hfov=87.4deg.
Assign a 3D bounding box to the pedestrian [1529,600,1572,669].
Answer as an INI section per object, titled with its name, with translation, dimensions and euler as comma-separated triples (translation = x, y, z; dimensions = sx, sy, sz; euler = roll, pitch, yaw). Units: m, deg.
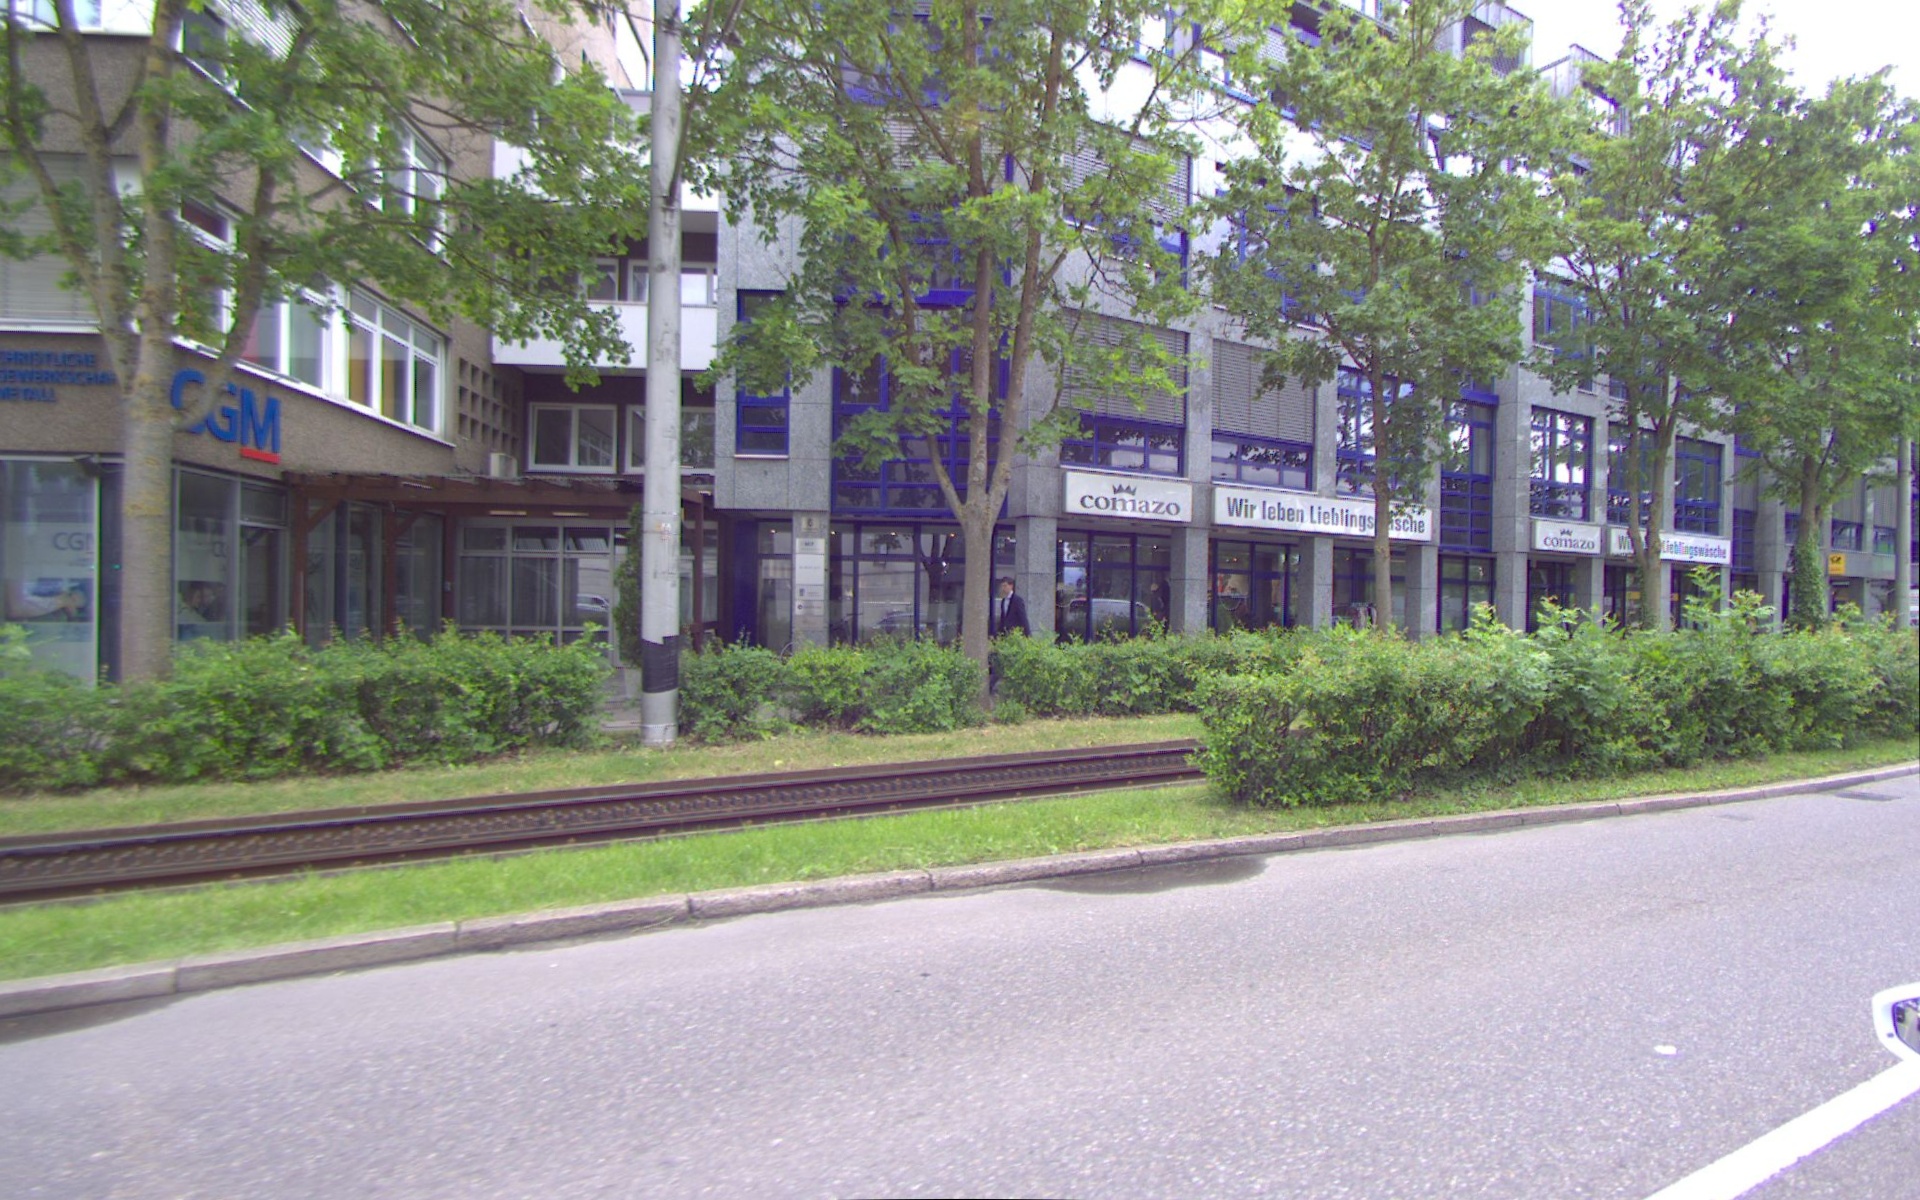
[pedestrian]
translation = 16.760, 0.965, 28.519
dimensions = 0.723, 1.919, 0.770
euler = 2, 0, -30
